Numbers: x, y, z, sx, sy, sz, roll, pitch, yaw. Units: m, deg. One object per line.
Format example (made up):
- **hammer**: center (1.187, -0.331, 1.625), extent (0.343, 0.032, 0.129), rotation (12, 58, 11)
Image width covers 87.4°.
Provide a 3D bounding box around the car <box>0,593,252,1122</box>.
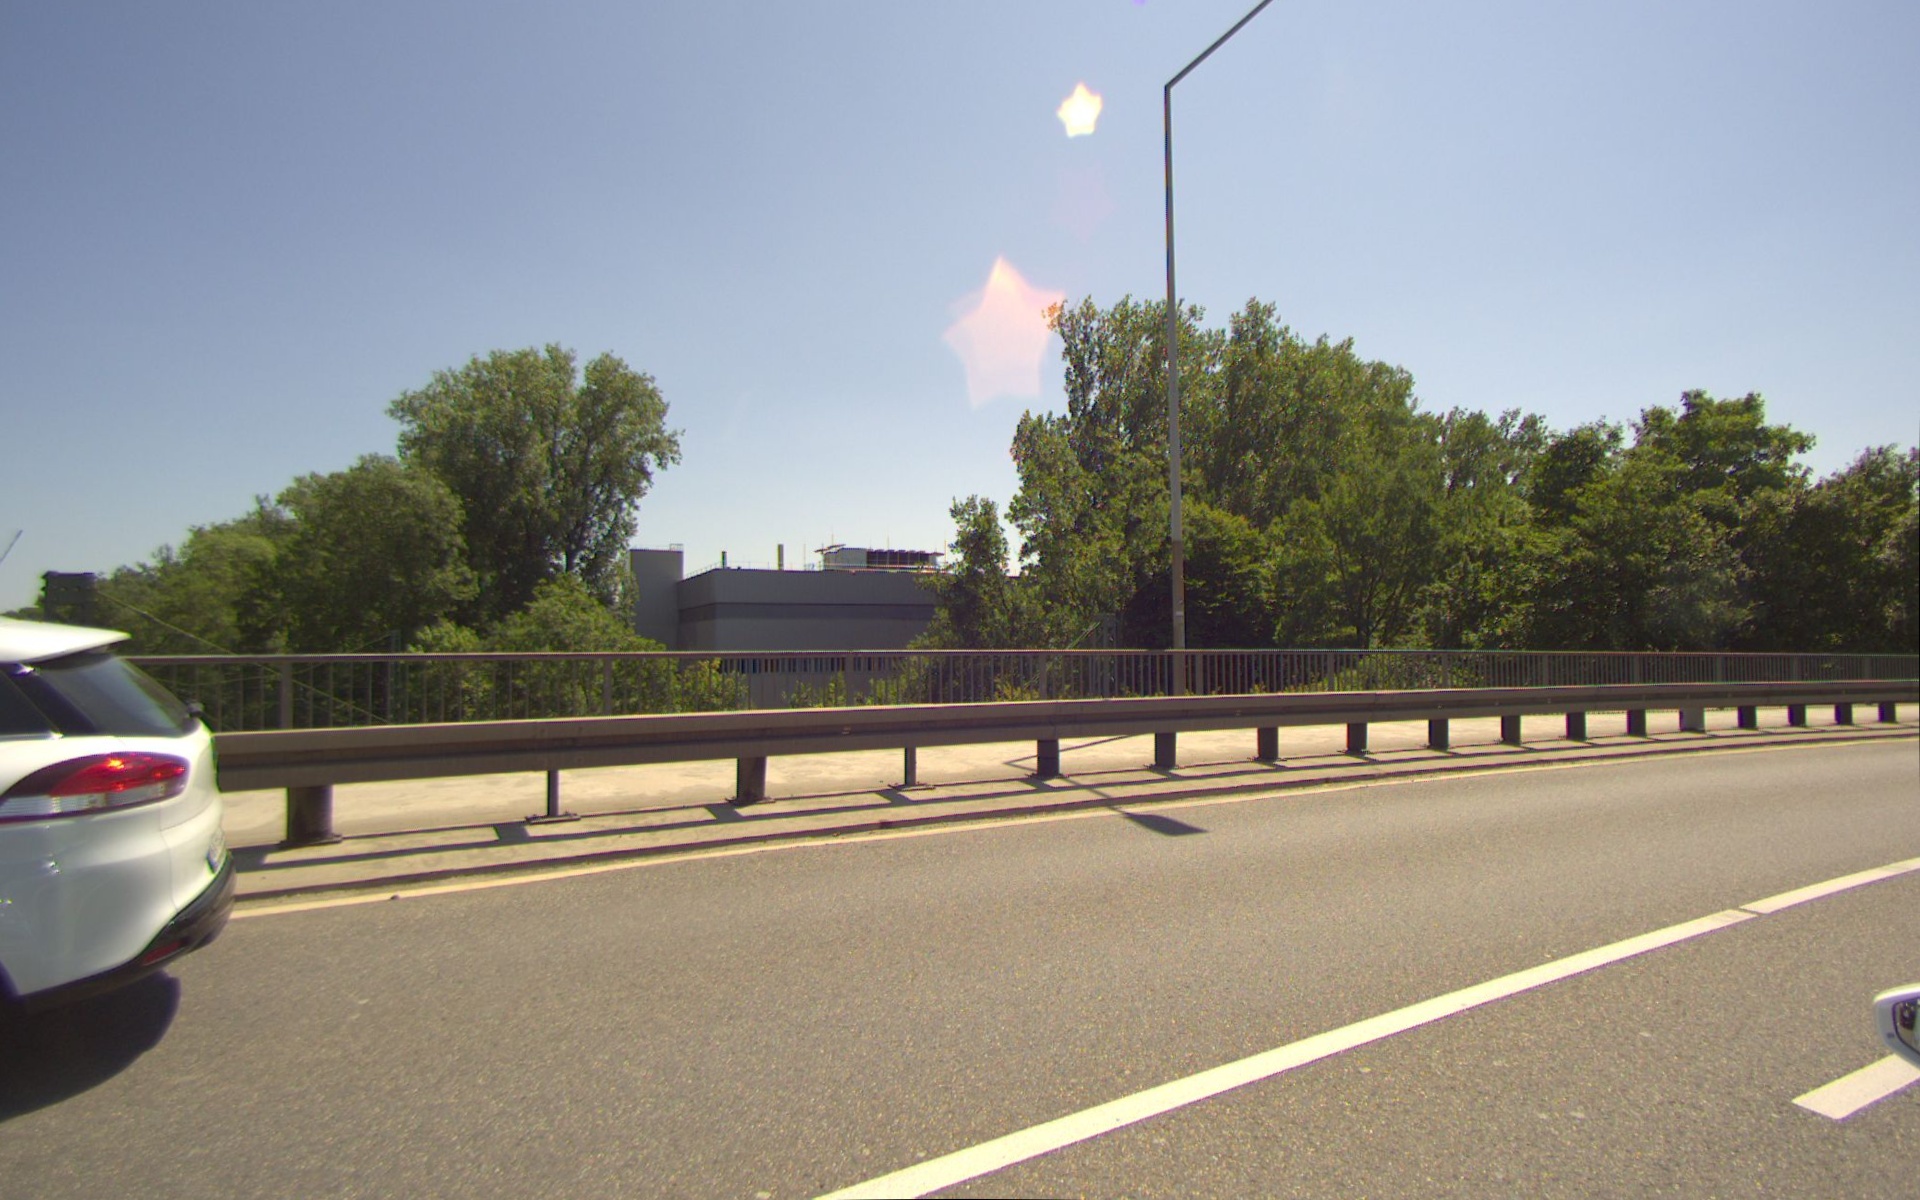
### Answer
- **car**: center (-4.352, 0.679, 2.610), extent (4.013, 1.468, 1.589), rotation (2, -1, -34)
